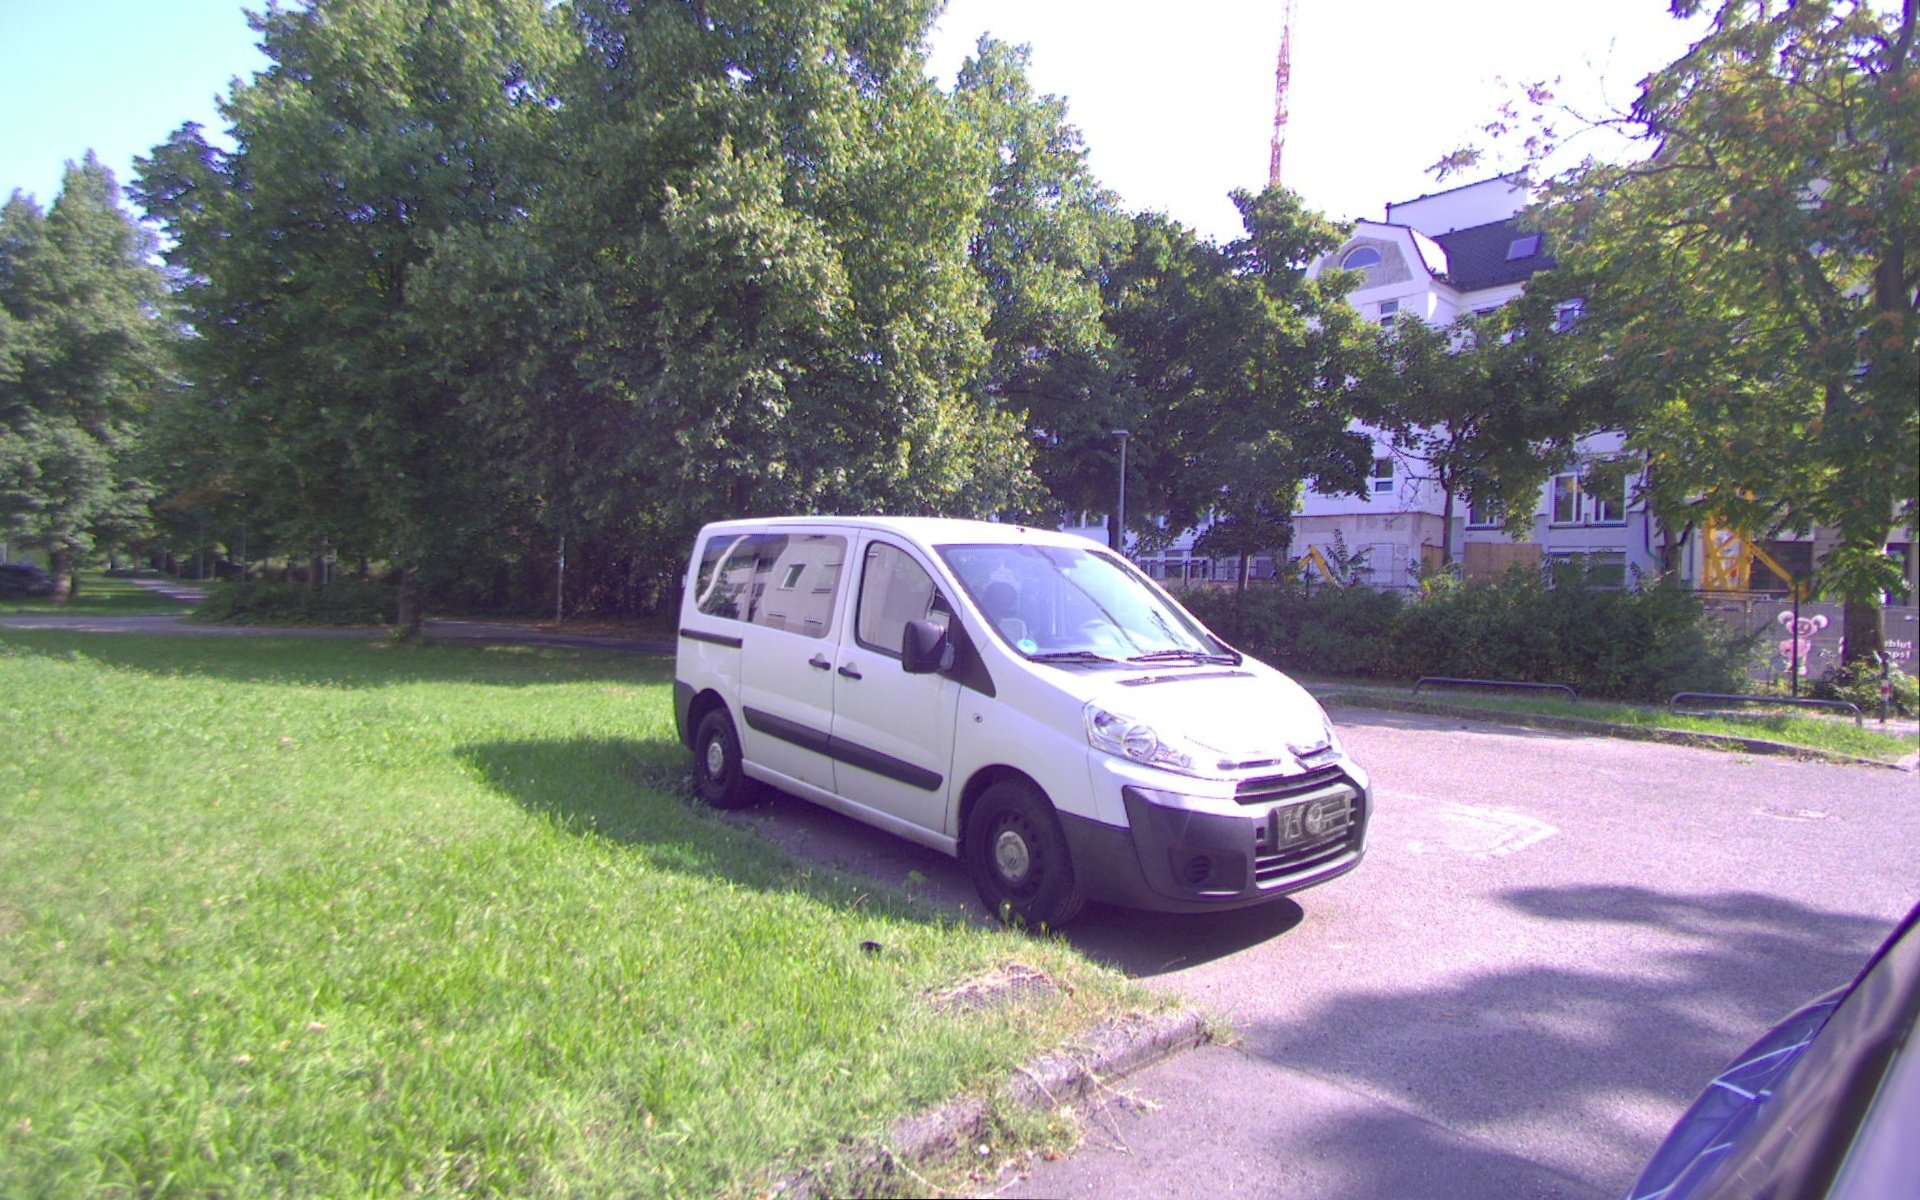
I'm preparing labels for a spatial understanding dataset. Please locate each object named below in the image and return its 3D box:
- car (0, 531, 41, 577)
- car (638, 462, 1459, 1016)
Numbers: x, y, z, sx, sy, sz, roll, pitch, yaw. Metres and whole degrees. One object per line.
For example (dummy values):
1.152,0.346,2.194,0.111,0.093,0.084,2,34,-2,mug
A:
-44.496,-2.128,46.022,3.930,2.039,1.997,1,1,-42,car
0.010,0.387,6.109,2.007,1.944,4.970,1,2,-39,car
